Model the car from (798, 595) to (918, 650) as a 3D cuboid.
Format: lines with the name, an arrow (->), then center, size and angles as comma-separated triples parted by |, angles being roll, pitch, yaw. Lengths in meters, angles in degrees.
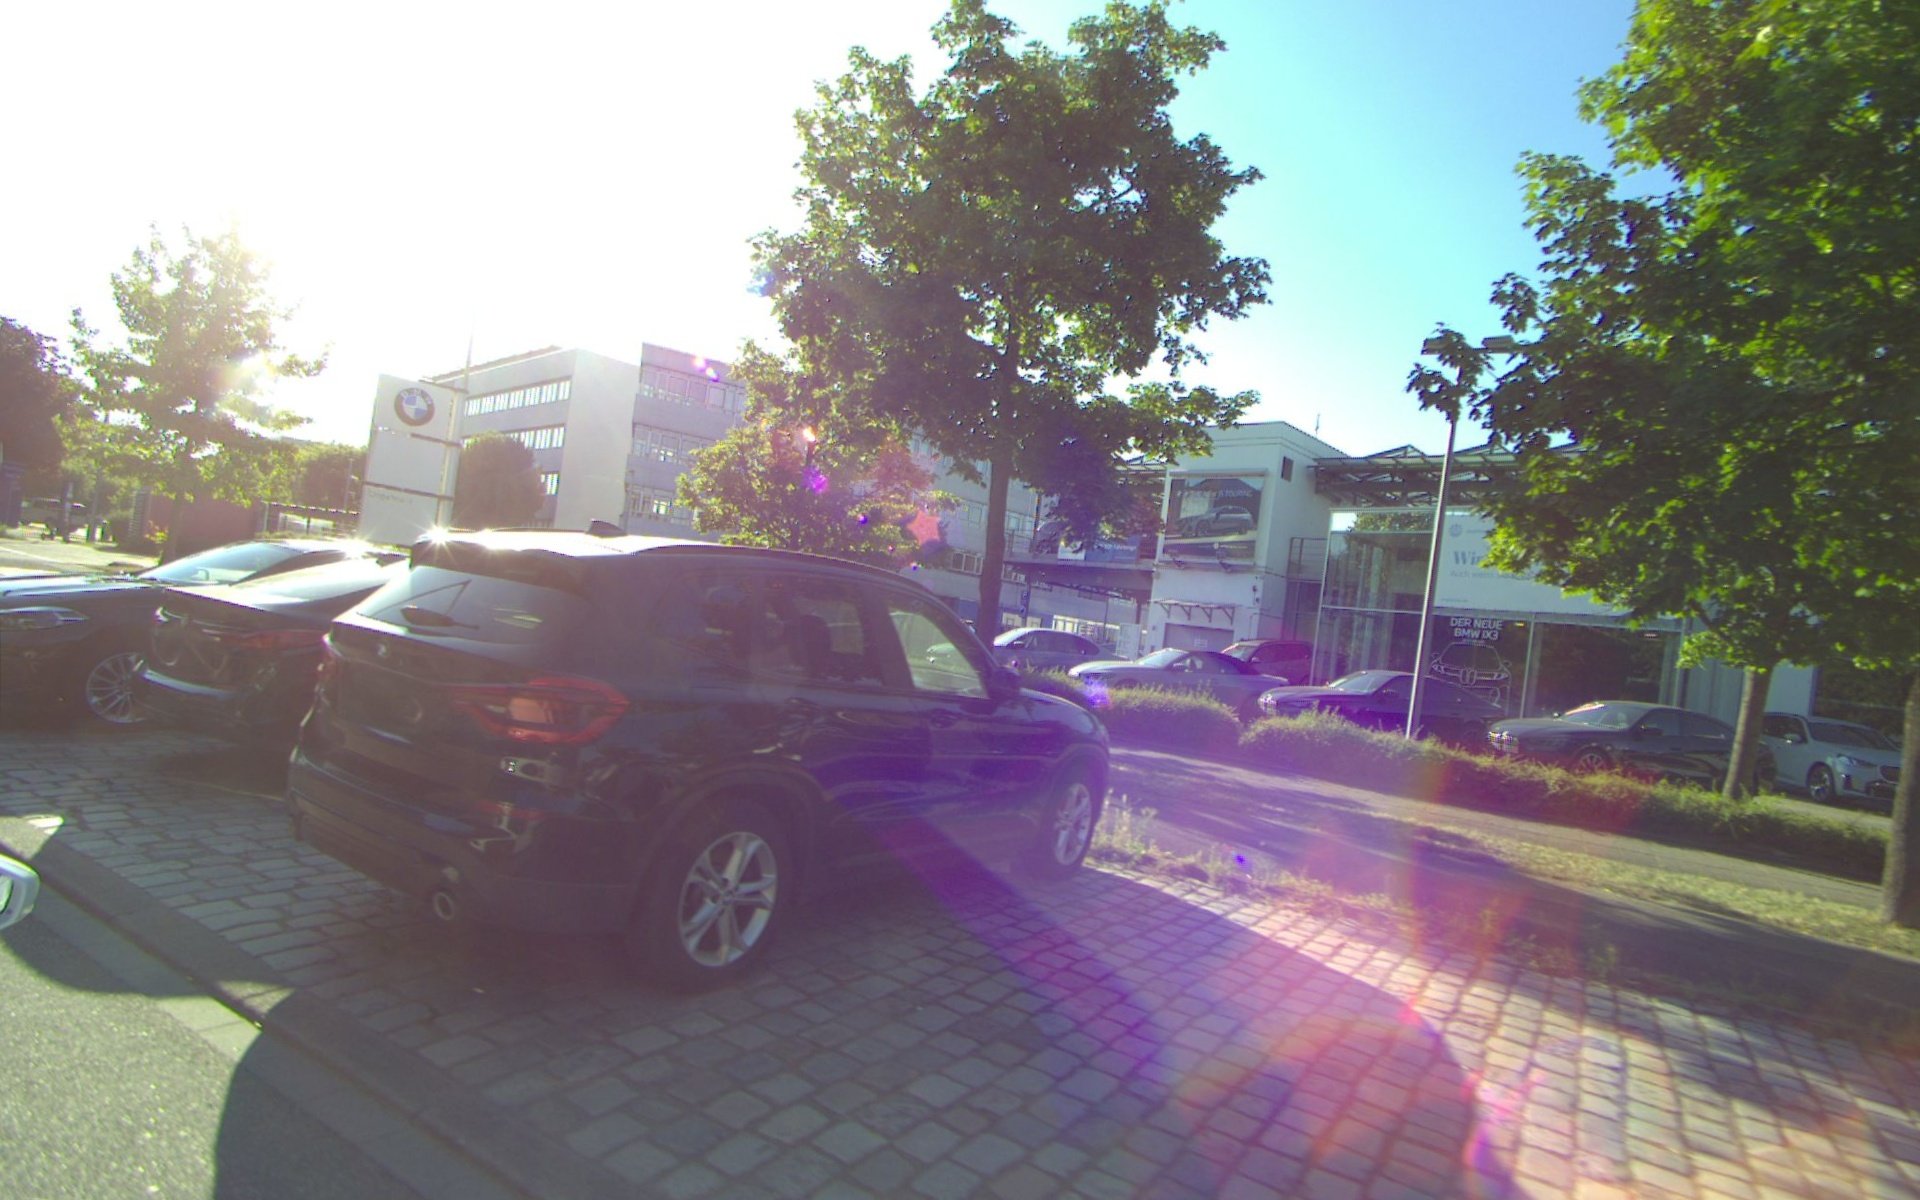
car -> -3.888, 0.804, 37.779 | 2.026, 1.449, 4.504 | 9, -1, -43

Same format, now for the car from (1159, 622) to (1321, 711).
car -> 8.427, 2.002, 30.352 | 4.123, 2.037, 1.992 | 8, -1, -19

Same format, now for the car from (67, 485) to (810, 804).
car -> -3.441, 0.384, 7.612 | 2.000, 1.568, 4.489 | 7, -2, 32

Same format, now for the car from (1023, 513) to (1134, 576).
car -> 5.110, -2.427, 43.583 | 4.144, 2.124, 1.993 | 7, -3, 43

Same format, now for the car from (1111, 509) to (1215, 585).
car -> 8.143, -2.086, 40.128 | 1.973, 2.124, 4.187 | 7, -4, 43

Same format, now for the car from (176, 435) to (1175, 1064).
car -> -0.872, 0.557, 5.382 | 2.157, 1.771, 4.700 | 7, -2, 35

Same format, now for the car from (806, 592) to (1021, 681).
car -> -1.151, 0.873, 24.420 | 4.720, 1.481, 1.992 | 8, -1, -18

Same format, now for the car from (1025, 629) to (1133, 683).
car -> 5.508, 2.583, 46.878 | 4.497, 1.811, 2.029 | 7, -1, 42

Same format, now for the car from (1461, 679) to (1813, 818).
car -> 10.877, 2.378, 16.266 | 4.715, 1.481, 1.995 | 8, -1, -14

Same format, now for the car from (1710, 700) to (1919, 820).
car -> 17.763, 3.192, 20.638 | 1.962, 1.795, 4.794 | 7, -1, 15

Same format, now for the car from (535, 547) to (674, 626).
car -> -10.900, -0.464, 30.638 | 2.026, 1.849, 4.915 | 8, -1, -43

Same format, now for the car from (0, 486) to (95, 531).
car -> -58.820, -5.870, 64.417 | 4.865, 1.956, 2.000 | 9, -1, -2

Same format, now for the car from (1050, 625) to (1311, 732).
car -> 4.467, 1.589, 20.488 | 4.721, 1.481, 1.992 | 8, -1, -18

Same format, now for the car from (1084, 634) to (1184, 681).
car -> 8.844, 2.928, 51.248 | 4.497, 1.693, 2.029 | 7, -1, 42

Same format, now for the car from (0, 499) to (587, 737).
car -> -5.652, 0.203, 8.281 | 1.999, 1.420, 4.491 | 7, -2, 30

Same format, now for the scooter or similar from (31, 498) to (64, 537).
scooter or similar -> -33.745, -3.043, 37.192 | 1.366, 1.287, 0.520 | 7, 0, 36

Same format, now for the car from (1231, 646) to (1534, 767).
car -> 7.637, 1.921, 18.347 | 4.713, 1.481, 1.995 | 8, -1, -13

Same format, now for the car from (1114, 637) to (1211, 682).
car -> 10.756, 3.158, 53.595 | 4.497, 1.693, 2.029 | 7, -1, 42

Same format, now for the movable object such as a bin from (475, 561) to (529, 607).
movable object such as a bin -> -14.858, -0.515, 32.620 | 1.022, 1.283, 1.117 | 7, -1, 38

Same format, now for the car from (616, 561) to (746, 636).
car -> -9.060, -0.074, 32.467 | 2.026, 1.849, 4.505 | 8, -1, -43

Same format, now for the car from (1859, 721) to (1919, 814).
car -> 20.468, 3.569, 19.812 | 1.962, 1.795, 4.794 | 7, -1, 15

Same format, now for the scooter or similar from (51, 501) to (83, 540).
scooter or similar -> -32.382, -2.897, 36.493 | 1.182, 1.287, 0.520 | 7, -1, 36

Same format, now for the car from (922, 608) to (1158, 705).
car -> 1.766, 1.239, 22.439 | 4.721, 1.481, 2.039 | 8, -1, -18
